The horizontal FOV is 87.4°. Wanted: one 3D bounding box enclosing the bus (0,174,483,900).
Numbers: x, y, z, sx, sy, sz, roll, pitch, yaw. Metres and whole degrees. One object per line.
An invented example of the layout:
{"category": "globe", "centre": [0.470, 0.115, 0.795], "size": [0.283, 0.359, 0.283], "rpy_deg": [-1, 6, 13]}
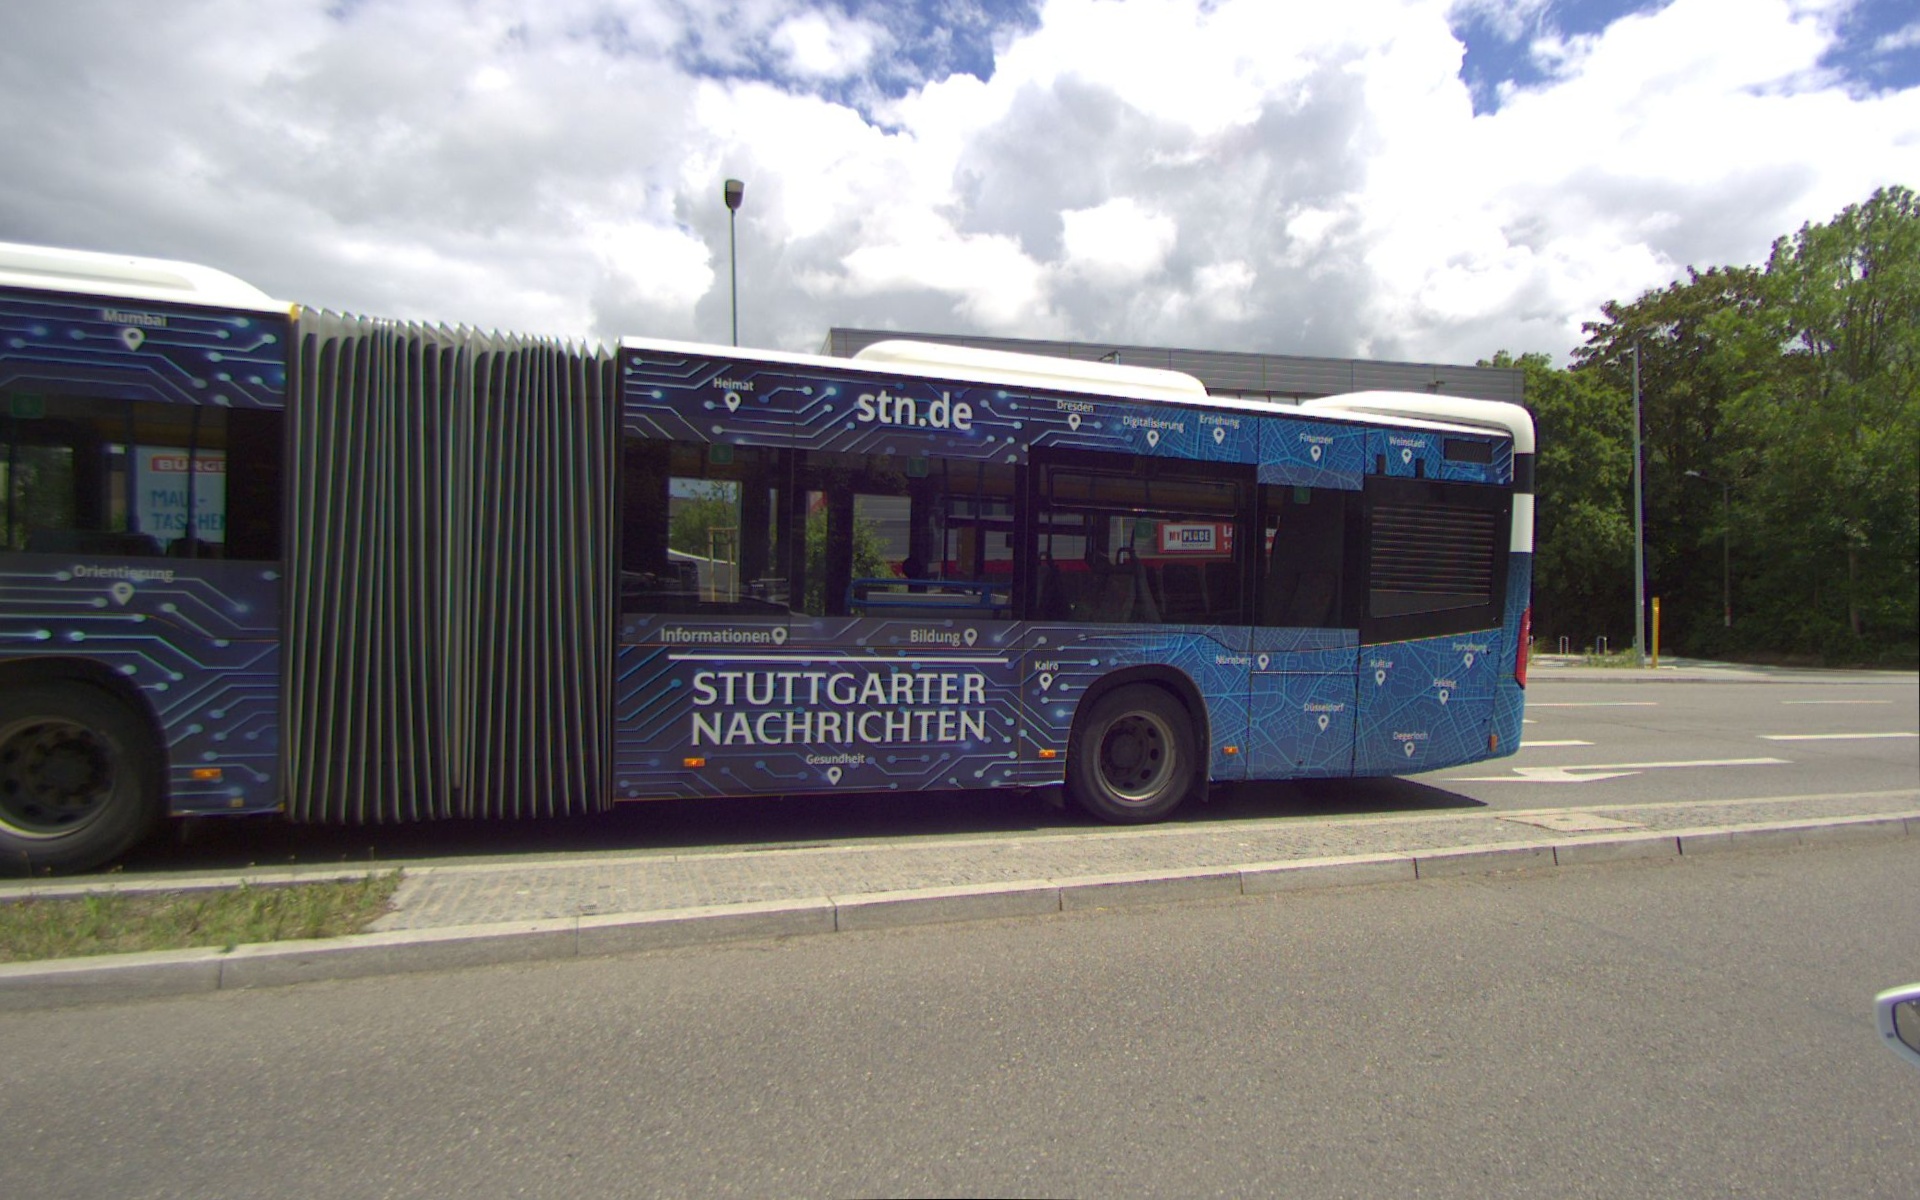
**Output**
{"category": "bus", "centre": [-8.060, -0.399, 4.899], "size": [9.960, 3.329, 2.813], "rpy_deg": [2, 1, -18]}

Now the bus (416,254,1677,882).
{"category": "bus", "centre": [0.983, -0.123, 7.831], "size": [8.766, 3.206, 2.813], "rpy_deg": [1, 1, -18]}

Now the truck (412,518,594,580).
{"category": "truck", "centre": [-18.864, -2.084, 41.681], "size": [6.454, 2.174, 1.999], "rpy_deg": [-3, 1, -4]}
